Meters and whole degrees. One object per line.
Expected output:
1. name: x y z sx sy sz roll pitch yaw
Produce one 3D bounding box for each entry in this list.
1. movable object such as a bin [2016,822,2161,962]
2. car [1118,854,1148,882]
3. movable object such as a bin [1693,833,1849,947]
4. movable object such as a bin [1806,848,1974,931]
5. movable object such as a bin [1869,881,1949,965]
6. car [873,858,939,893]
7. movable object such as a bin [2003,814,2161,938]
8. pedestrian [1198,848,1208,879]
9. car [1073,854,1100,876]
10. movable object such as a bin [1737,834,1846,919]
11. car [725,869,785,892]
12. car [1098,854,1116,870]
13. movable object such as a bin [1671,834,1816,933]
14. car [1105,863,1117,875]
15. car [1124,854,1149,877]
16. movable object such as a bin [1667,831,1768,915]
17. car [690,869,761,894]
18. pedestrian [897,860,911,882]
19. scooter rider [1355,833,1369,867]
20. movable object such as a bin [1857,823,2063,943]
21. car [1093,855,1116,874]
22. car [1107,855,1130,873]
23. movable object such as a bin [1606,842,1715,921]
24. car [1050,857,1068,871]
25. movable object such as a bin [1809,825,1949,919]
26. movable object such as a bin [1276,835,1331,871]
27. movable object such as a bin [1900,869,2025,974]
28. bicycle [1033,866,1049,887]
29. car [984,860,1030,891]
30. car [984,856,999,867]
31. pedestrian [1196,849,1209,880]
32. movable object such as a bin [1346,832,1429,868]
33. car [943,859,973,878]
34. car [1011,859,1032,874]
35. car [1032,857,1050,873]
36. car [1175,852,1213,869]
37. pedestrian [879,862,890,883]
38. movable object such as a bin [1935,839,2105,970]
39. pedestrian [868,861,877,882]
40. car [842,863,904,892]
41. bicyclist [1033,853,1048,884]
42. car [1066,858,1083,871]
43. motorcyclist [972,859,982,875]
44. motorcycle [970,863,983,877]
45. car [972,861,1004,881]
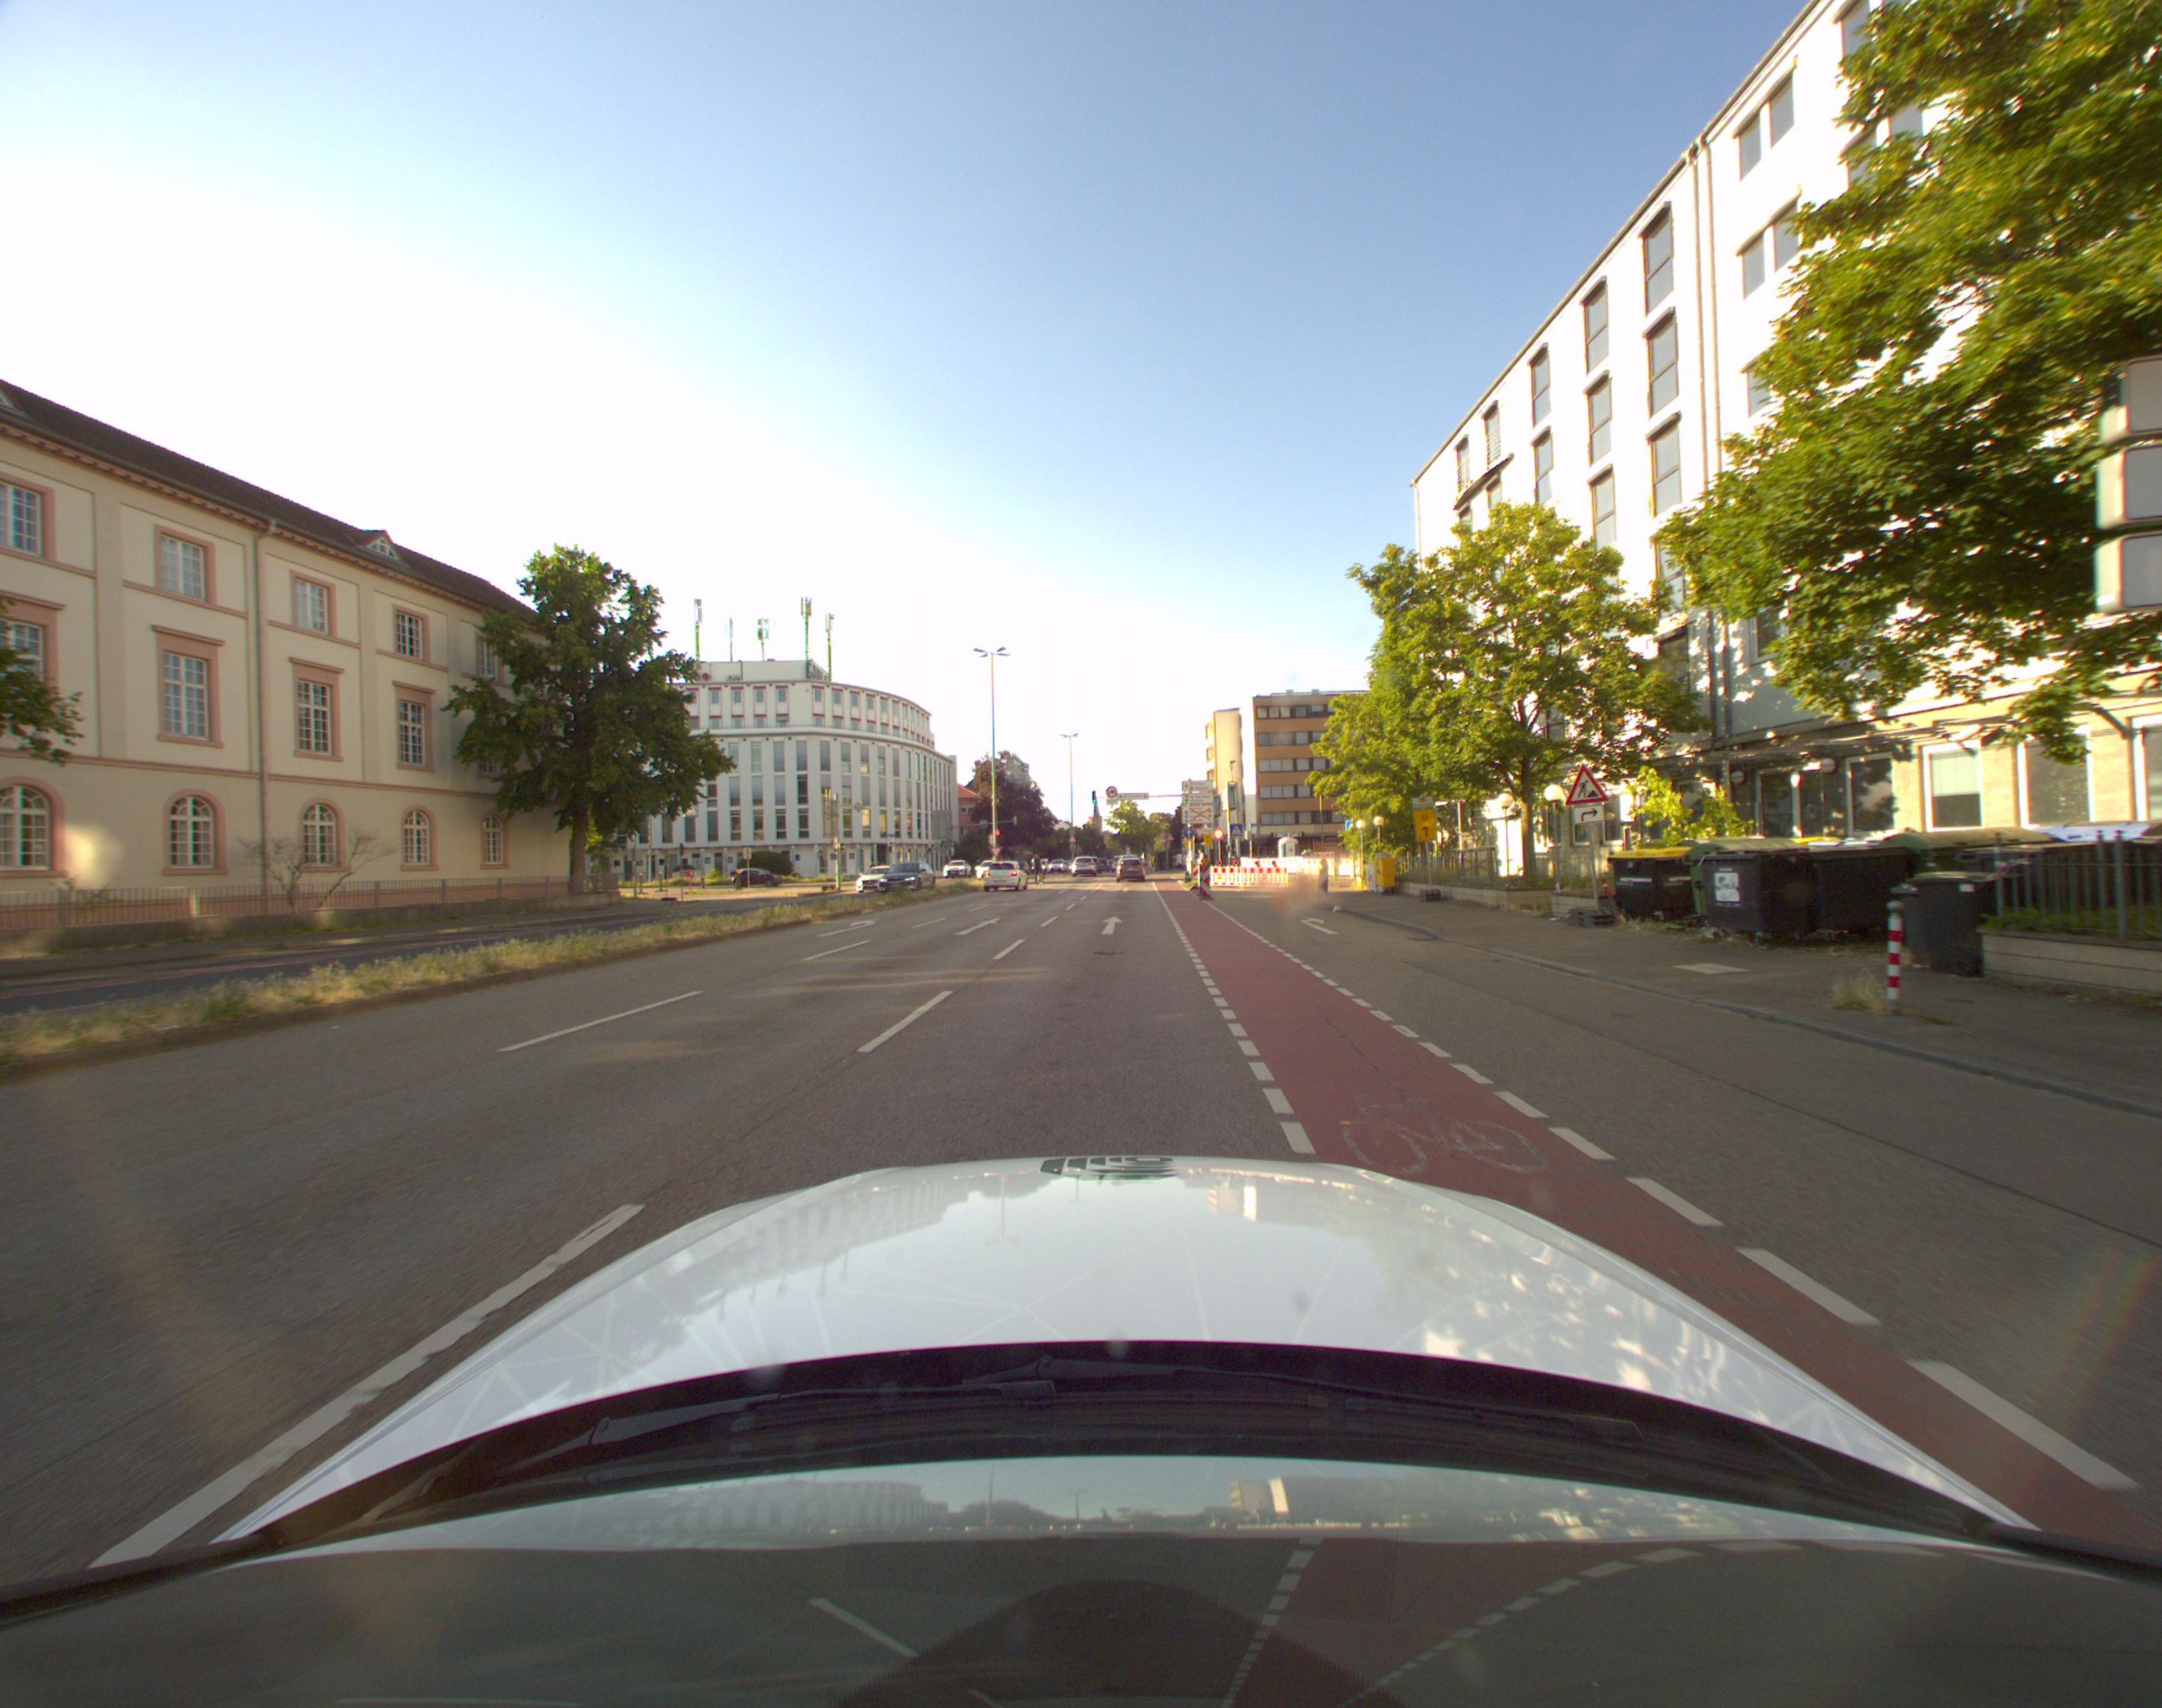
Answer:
1. movable object such as a bin: 11.326 0.371 8.700 1.601 1.410 0.865 -2 -1 2
2. car: 3.246 0.845 50.269 1.740 1.564 4.054 -2 0 4
3. movable object such as a bin: 9.737 0.514 11.572 1.088 1.508 1.255 -2 -3 4
4. movable object such as a bin: 11.893 0.510 12.034 1.412 1.129 1.026 -2 -1 4
5. movable object such as a bin: 9.411 0.769 9.270 0.391 0.907 0.491 -2 -1 6
6. car: -8.648 1.018 40.678 1.985 1.578 4.903 -2 -1 3
7. movable object such as a bin: 13.041 0.248 10.327 1.189 1.421 1.281 -3 0 6
8. pedestrian: 7.432 0.575 49.444 0.517 1.868 0.616 -2 -1 9
9. car: 0.460 0.827 61.275 1.740 1.564 4.054 -2 0 4
10. movable object such as a bin: 13.106 0.400 15.063 1.121 1.485 0.957 -2 -1 4
11. car: -24.924 2.009 62.339 3.796 1.530 1.863 -3 -3 0
12. car: 2.884 0.850 89.444 1.657 1.657 4.005 -2 -1 4
13. movable object such as a bin: 10.698 0.453 13.202 1.325 1.485 1.208 -2 -1 -6
14. car: 4.542 2.222 123.353 1.657 1.657 4.005 -2 -1 4
15. car: 4.297 0.893 63.886 1.812 1.640 4.003 -2 -1 3
16. movable object such as a bin: 11.919 0.350 15.293 1.099 1.485 0.957 -2 -1 3
17. car: -25.999 2.014 59.614 4.321 1.629 2.004 -2 -1 7
18. pedestrian: -15.633 1.493 71.966 0.620 1.868 1.134 -2 -1 30
19. scooter rider: 14.998 -0.229 43.521 0.609 1.790 0.489 -2 -1 25
20. movable object such as a bin: 11.600 0.361 10.830 1.301 1.433 1.282 -3 0 8
21. car: 2.125 0.911 72.242 1.740 1.564 4.054 -2 0 4
22. car: 3.554 0.958 76.778 1.985 1.508 4.002 -3 -2 3
23. movable object such as a bin: 10.579 0.482 14.913 1.214 1.344 1.051 -2 -1 -12
24. car: -2.435 1.086 91.080 1.841 1.461 4.050 -2 0 1
25. movable object such as a bin: 13.475 0.303 13.806 1.321 1.485 1.017 -2 -1 2
26. movable object such as a bin: 15.293 -0.056 56.002 3.315 2.383 1.530 -2 -1 2
27. movable object such as a bin: 9.267 0.693 8.585 0.616 1.046 0.617 -2 -1 6
28. bicycle: -2.258 1.239 45.915 0.697 1.100 2.258 -2 -1 1
29. car: -3.672 1.034 41.012 1.677 1.457 4.004 -1 0 4
30. car: -12.896 1.095 117.287 1.837 1.572 3.995 -2 -1 -3
31. pedestrian: 7.280 0.617 48.743 0.736 1.799 0.717 -2 -1 9
32. movable object such as a bin: 23.327 -0.284 62.168 5.331 2.490 2.549 -2 -1 1
33. car: -10.436 1.218 69.463 1.678 1.499 4.516 -2 0 2
34. car: -6.011 1.248 82.472 1.651 1.494 4.002 -2 0 2
35. car: -4.916 1.309 100.272 1.908 1.811 4.718 -2 0 1
36. car: 13.613 0.812 98.258 4.347 1.877 2.001 -2 -1 2
37. pedestrian: -17.498 1.609 72.592 0.757 1.842 0.816 -2 -1 -6
38. movable object such as a bin: 10.001 0.518 8.717 0.774 1.309 0.865 -2 -1 2
39. pedestrian: -18.523 1.567 72.240 0.660 1.859 0.776 -2 -1 -10
40. car: -11.799 1.312 46.467 1.984 1.413 4.449 -3 0 5
41. bicyclist: -2.277 0.824 46.000 0.688 1.728 0.988 -2 -1 1
42. car: -0.777 1.246 96.821 1.841 1.461 4.050 -2 0 1
43. motorcyclist: -9.953 1.234 77.829 0.767 1.419 1.239 -2 -1 2
44. motorcycle: -9.961 1.526 77.753 0.767 1.284 2.844 -2 -1 2
45. car: -7.110 1.252 62.443 1.678 1.392 4.184 -2 0 3
